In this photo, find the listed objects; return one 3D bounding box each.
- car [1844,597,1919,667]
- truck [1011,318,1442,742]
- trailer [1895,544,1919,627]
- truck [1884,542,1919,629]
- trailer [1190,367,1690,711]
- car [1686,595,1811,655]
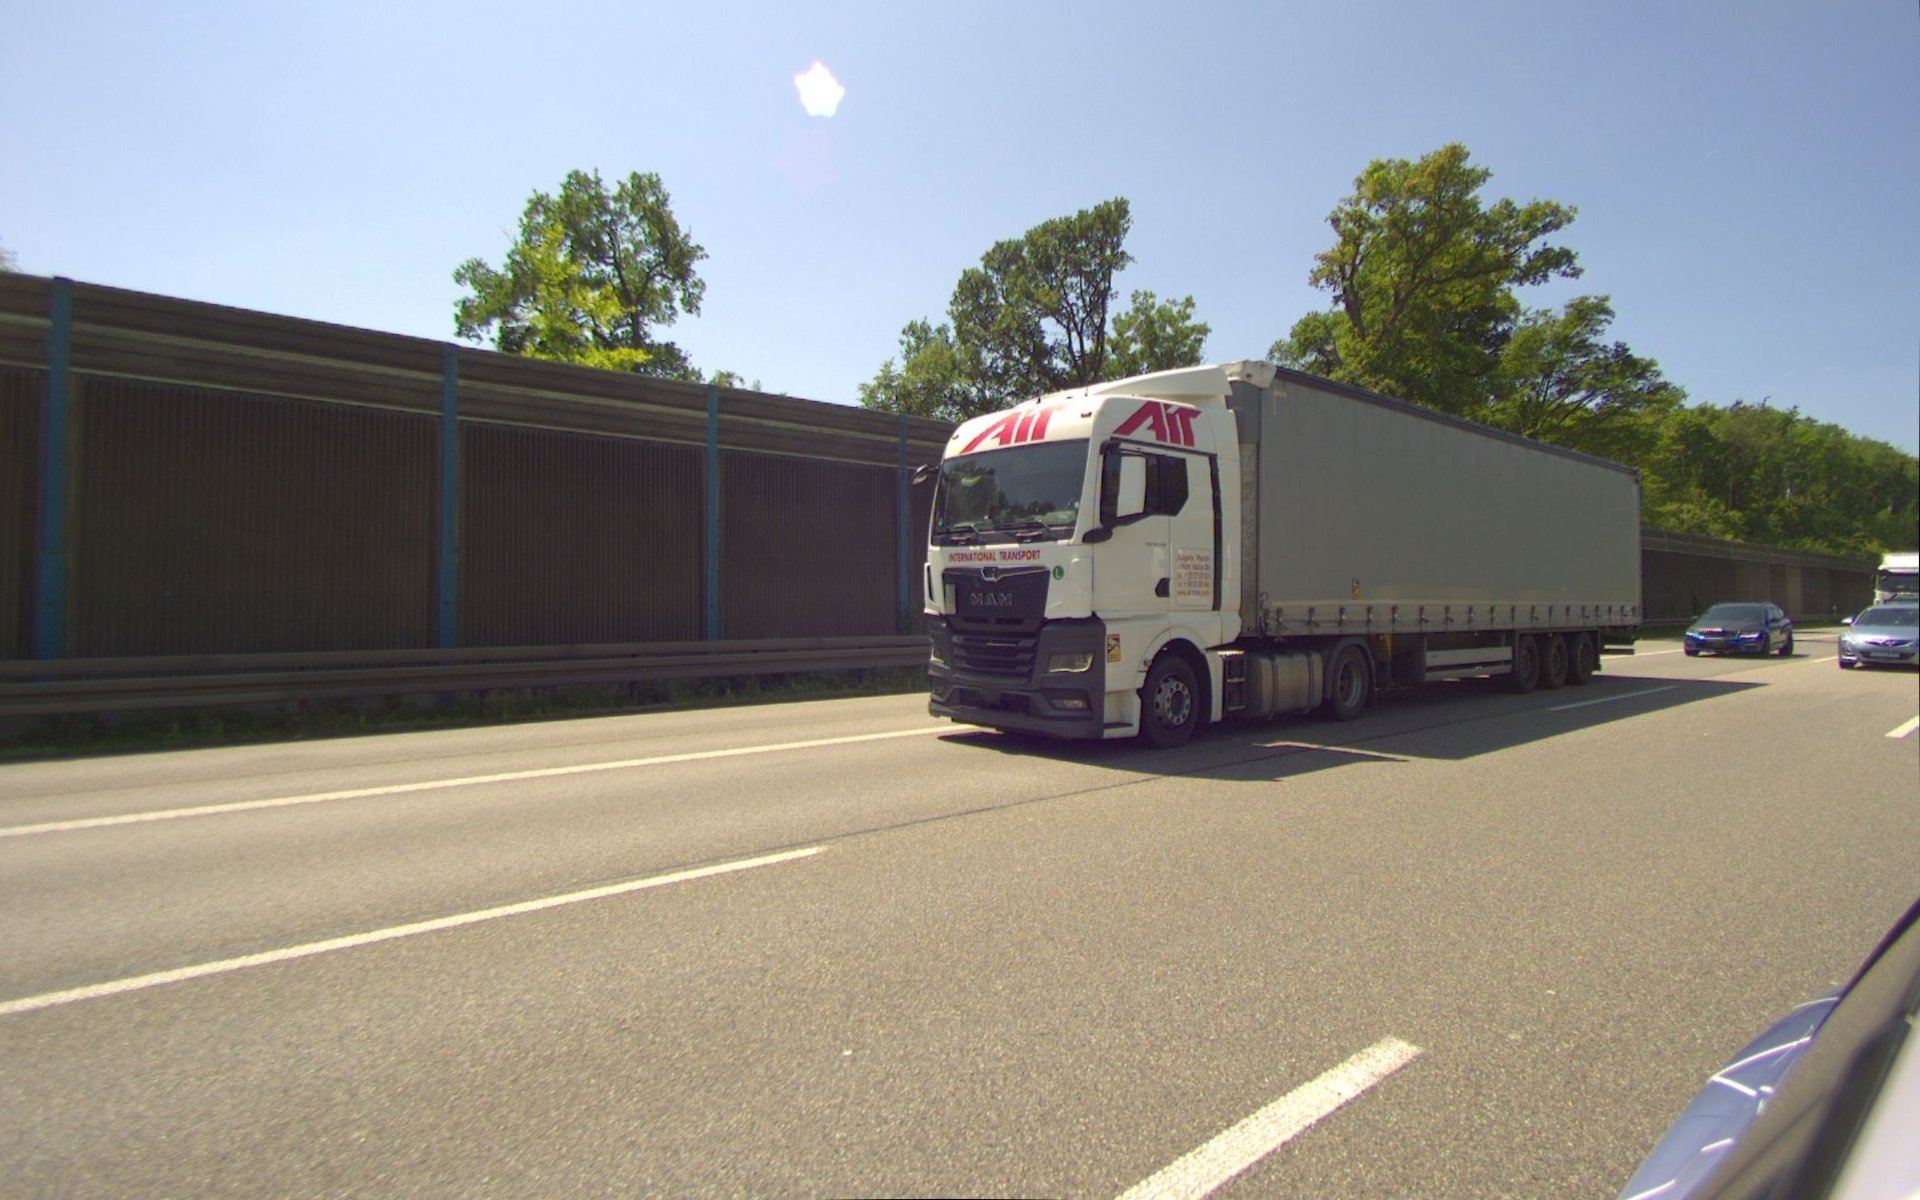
[{"bbox_3d":[21.299,0.672,22.503,4.102,1.452,1.859,0,-1,-40],"label":"car"},{"bbox_3d":[3.503,-0.716,12.667,5.455,4.142,2.602,-1,0,-41],"label":"truck"},{"bbox_3d":[54.414,-0.750,55.223,13.217,4.269,2.821,0,-1,-38],"label":"trailer"},{"bbox_3d":[49.265,-0.724,51.224,5.322,4.269,2.812,0,-1,-38],"label":"truck"},{"bbox_3d":[9.128,-0.806,17.517,13.353,4.142,2.603,-1,0,-41],"label":"trailer"},{"bbox_3d":[21.538,0.633,27.606,4.102,1.512,1.859,0,-1,-40],"label":"car"}]
